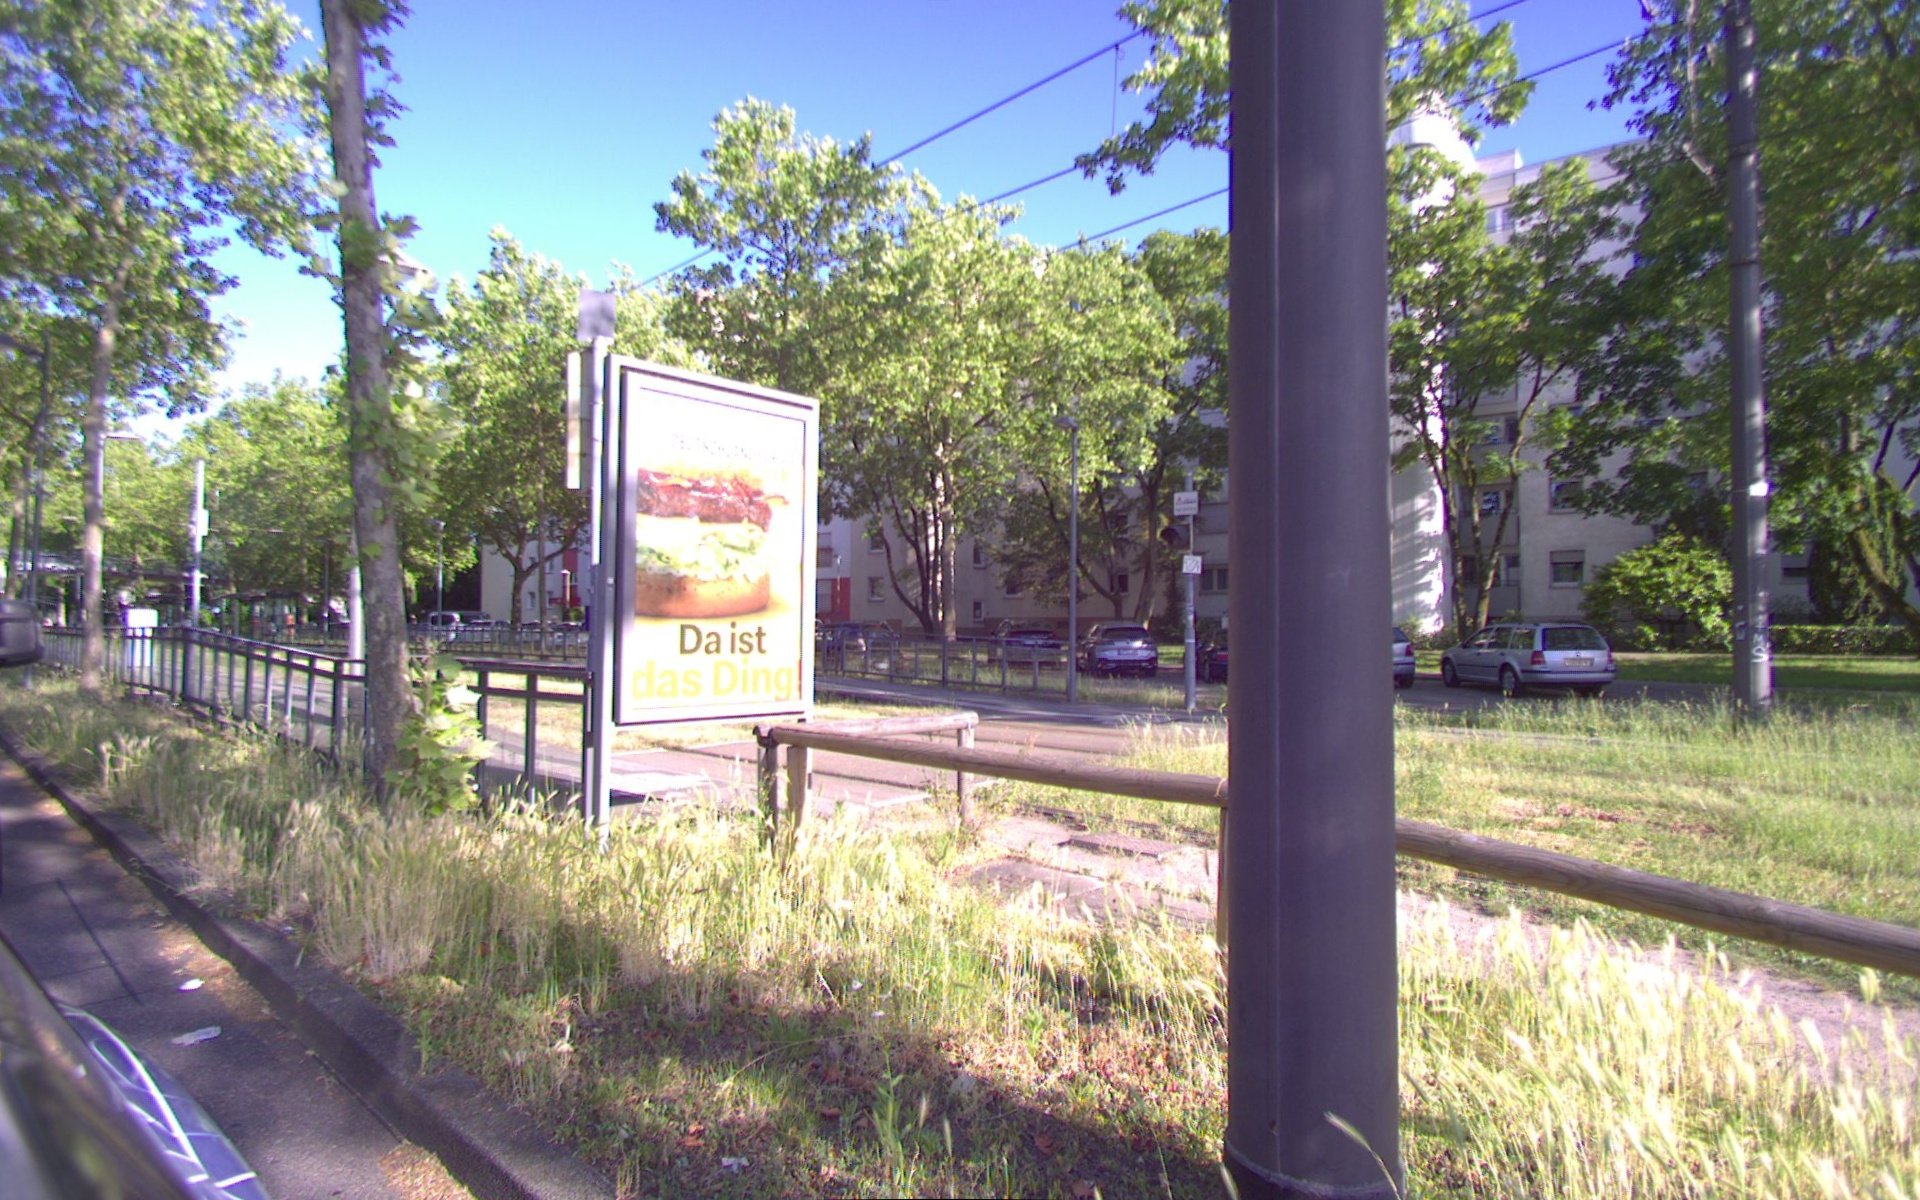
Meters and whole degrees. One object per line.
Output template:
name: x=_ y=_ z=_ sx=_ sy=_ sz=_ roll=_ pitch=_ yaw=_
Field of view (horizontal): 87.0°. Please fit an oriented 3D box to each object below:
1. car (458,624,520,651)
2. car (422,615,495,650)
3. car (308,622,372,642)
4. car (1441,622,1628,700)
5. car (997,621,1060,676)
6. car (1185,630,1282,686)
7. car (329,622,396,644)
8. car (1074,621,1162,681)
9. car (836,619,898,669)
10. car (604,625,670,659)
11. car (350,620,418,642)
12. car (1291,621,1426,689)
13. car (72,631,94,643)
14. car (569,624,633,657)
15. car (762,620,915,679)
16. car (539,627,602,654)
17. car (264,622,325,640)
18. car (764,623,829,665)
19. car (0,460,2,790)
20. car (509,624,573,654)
car: x=-25.798 y=2.030 z=55.526 sx=1.627 sy=1.407 sz=3.680 roll=0 pitch=-1 yaw=1
car: x=-28.326 y=1.821 z=57.335 sx=1.898 sy=1.898 sz=4.365 roll=0 pitch=-1 yaw=1
car: x=-44.643 y=2.275 z=72.993 sx=1.898 sy=1.386 sz=4.365 roll=0 pitch=-1 yaw=1
car: x=11.546 y=1.175 z=20.633 sx=1.707 sy=1.444 sz=3.681 roll=0 pitch=-1 yaw=1
car: x=1.932 y=1.366 z=29.451 sx=1.664 sy=1.482 sz=3.680 roll=0 pitch=-1 yaw=1
car: x=6.727 y=1.399 z=25.212 sx=1.602 sy=1.256 sz=3.677 roll=0 pitch=-1 yaw=4
car: x=-40.282 y=2.198 z=68.400 sx=1.898 sy=1.386 sz=4.365 roll=0 pitch=-1 yaw=1
car: x=4.205 y=1.344 z=27.498 sx=1.894 sy=1.507 sz=3.680 roll=0 pitch=-1 yaw=2
car: x=-3.109 y=1.456 z=34.474 sx=1.664 sy=1.579 sz=3.679 roll=0 pitch=-1 yaw=2
car: x=-14.083 y=1.816 z=44.287 sx=1.627 sy=1.403 sz=3.679 roll=0 pitch=-1 yaw=2
car: x=-37.844 y=2.031 z=66.595 sx=1.898 sy=1.386 sz=4.365 roll=0 pitch=-1 yaw=1
car: x=9.151 y=1.218 z=23.532 sx=1.679 sy=1.444 sz=3.681 roll=0 pitch=-1 yaw=1
car: x=-109.099 y=4.574 z=125.930 sx=3.294 sy=1.370 sz=1.651 roll=-1 pitch=-2 yaw=41
car: x=-16.682 y=1.839 z=47.143 sx=1.627 sy=1.460 sz=3.680 roll=0 pitch=-1 yaw=1
car: x=-3.199 y=1.240 z=26.434 sx=3.748 sy=1.431 sz=1.805 roll=-1 pitch=-1 yaw=35
car: x=-19.046 y=1.976 z=49.673 sx=1.627 sy=1.251 sz=3.680 roll=0 pitch=-1 yaw=1
car: x=-52.144 y=2.397 z=79.374 sx=1.898 sy=1.386 sz=4.365 roll=0 pitch=-1 yaw=1
car: x=-5.910 y=1.569 z=36.924 sx=1.664 sy=1.444 sz=3.679 roll=0 pitch=-1 yaw=2
car: x=-6.926 y=0.460 z=5.517 sx=5.111 sy=2.131 sz=2.014 roll=-1 pitch=-1 yaw=41
car: x=-21.123 y=1.955 z=51.141 sx=1.627 sy=1.460 sz=3.680 roll=0 pitch=-1 yaw=1
